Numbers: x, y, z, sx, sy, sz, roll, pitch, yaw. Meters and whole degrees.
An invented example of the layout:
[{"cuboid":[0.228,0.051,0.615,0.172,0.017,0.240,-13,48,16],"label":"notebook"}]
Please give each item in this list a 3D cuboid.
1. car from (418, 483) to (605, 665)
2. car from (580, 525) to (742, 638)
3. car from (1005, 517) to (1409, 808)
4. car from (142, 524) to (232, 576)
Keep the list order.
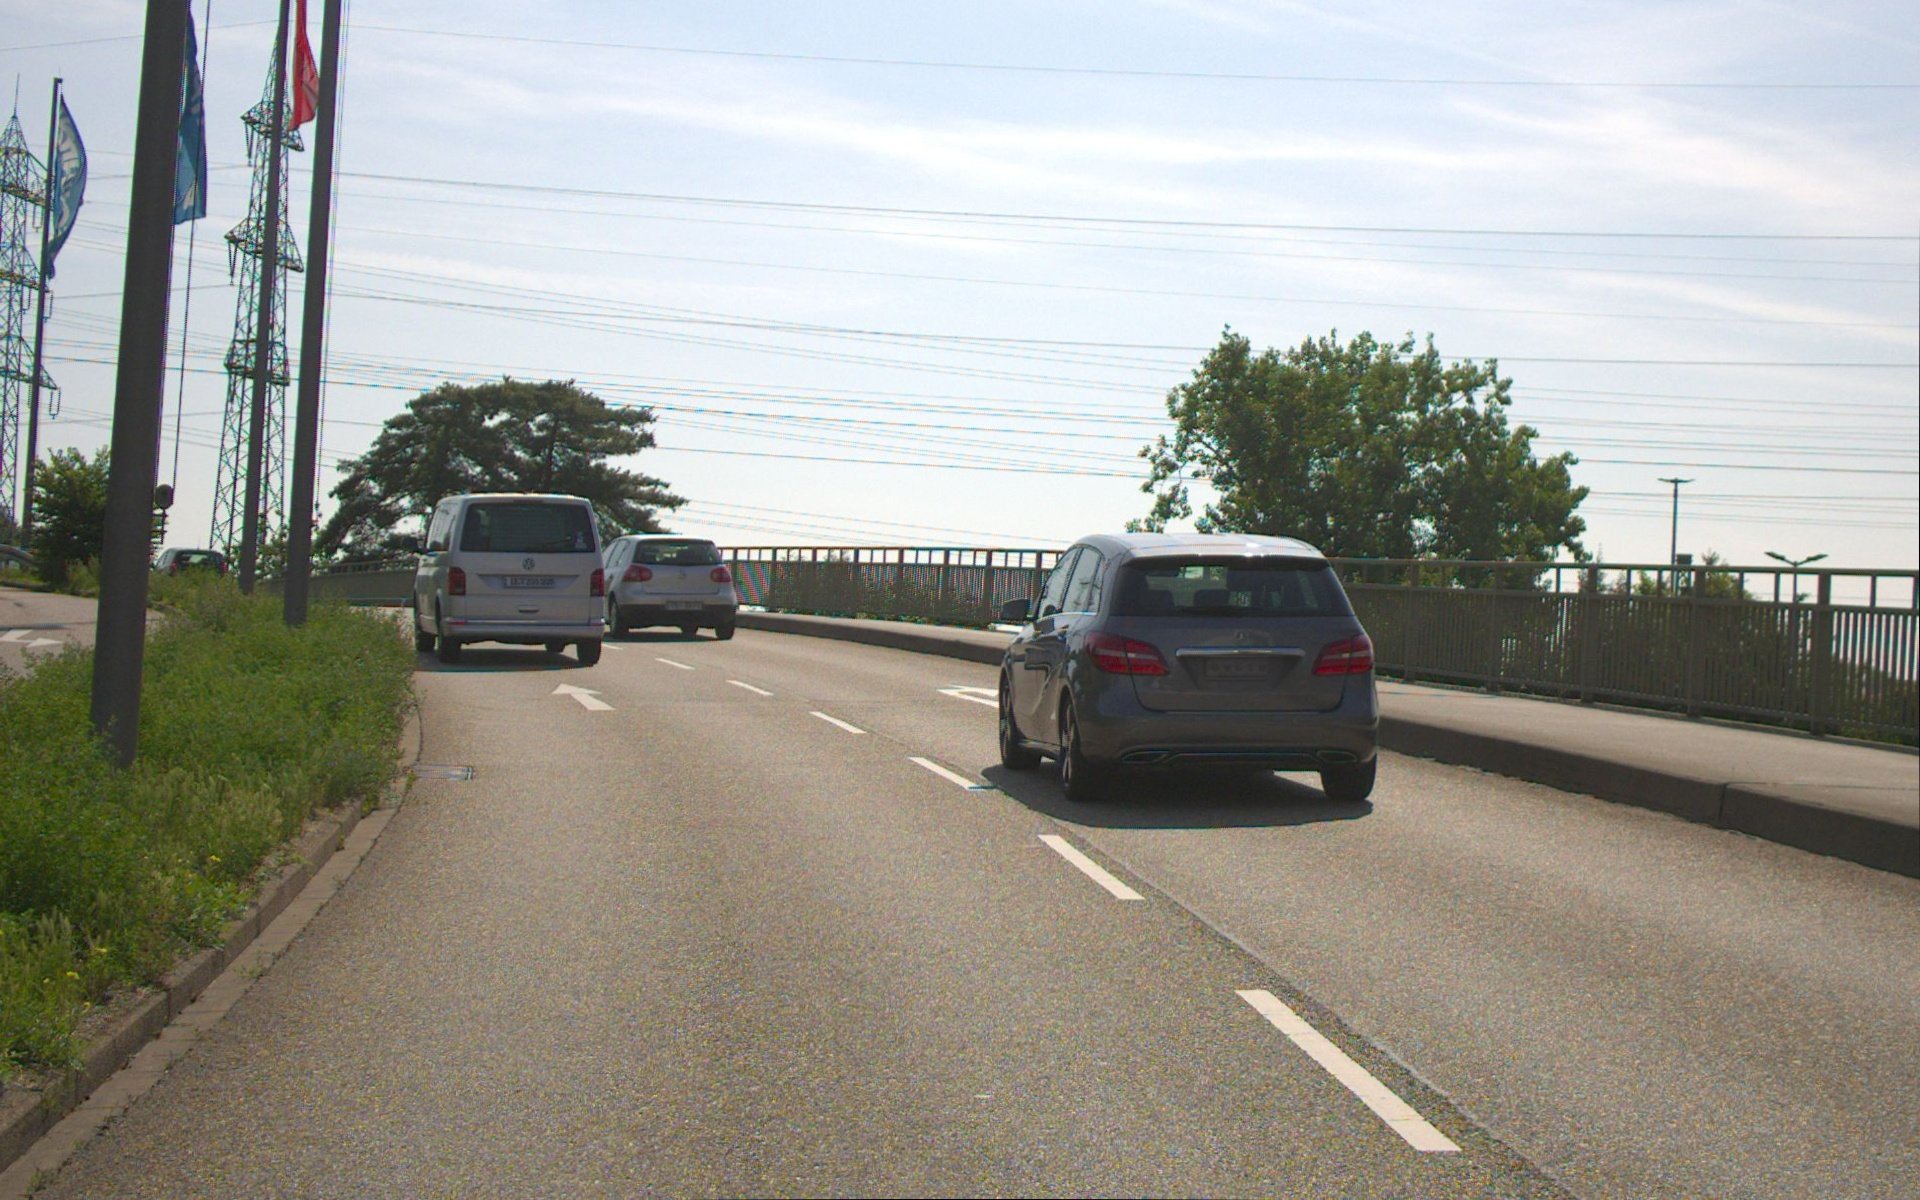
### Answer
[{"cuboid":[-5.330,-0.336,40.464,2.038,2.007,4.001,1,1,-9],"label":"car"},{"cuboid":[-4.352,-0.298,49.572,1.856,1.524,4.145,1,1,-11],"label":"car"},{"cuboid":[1.389,0.362,20.973,1.856,1.524,4.144,2,-1,-4],"label":"car"},{"cuboid":[-20.452,-1.338,90.846,1.773,1.327,3.742,0,1,-21],"label":"car"}]
